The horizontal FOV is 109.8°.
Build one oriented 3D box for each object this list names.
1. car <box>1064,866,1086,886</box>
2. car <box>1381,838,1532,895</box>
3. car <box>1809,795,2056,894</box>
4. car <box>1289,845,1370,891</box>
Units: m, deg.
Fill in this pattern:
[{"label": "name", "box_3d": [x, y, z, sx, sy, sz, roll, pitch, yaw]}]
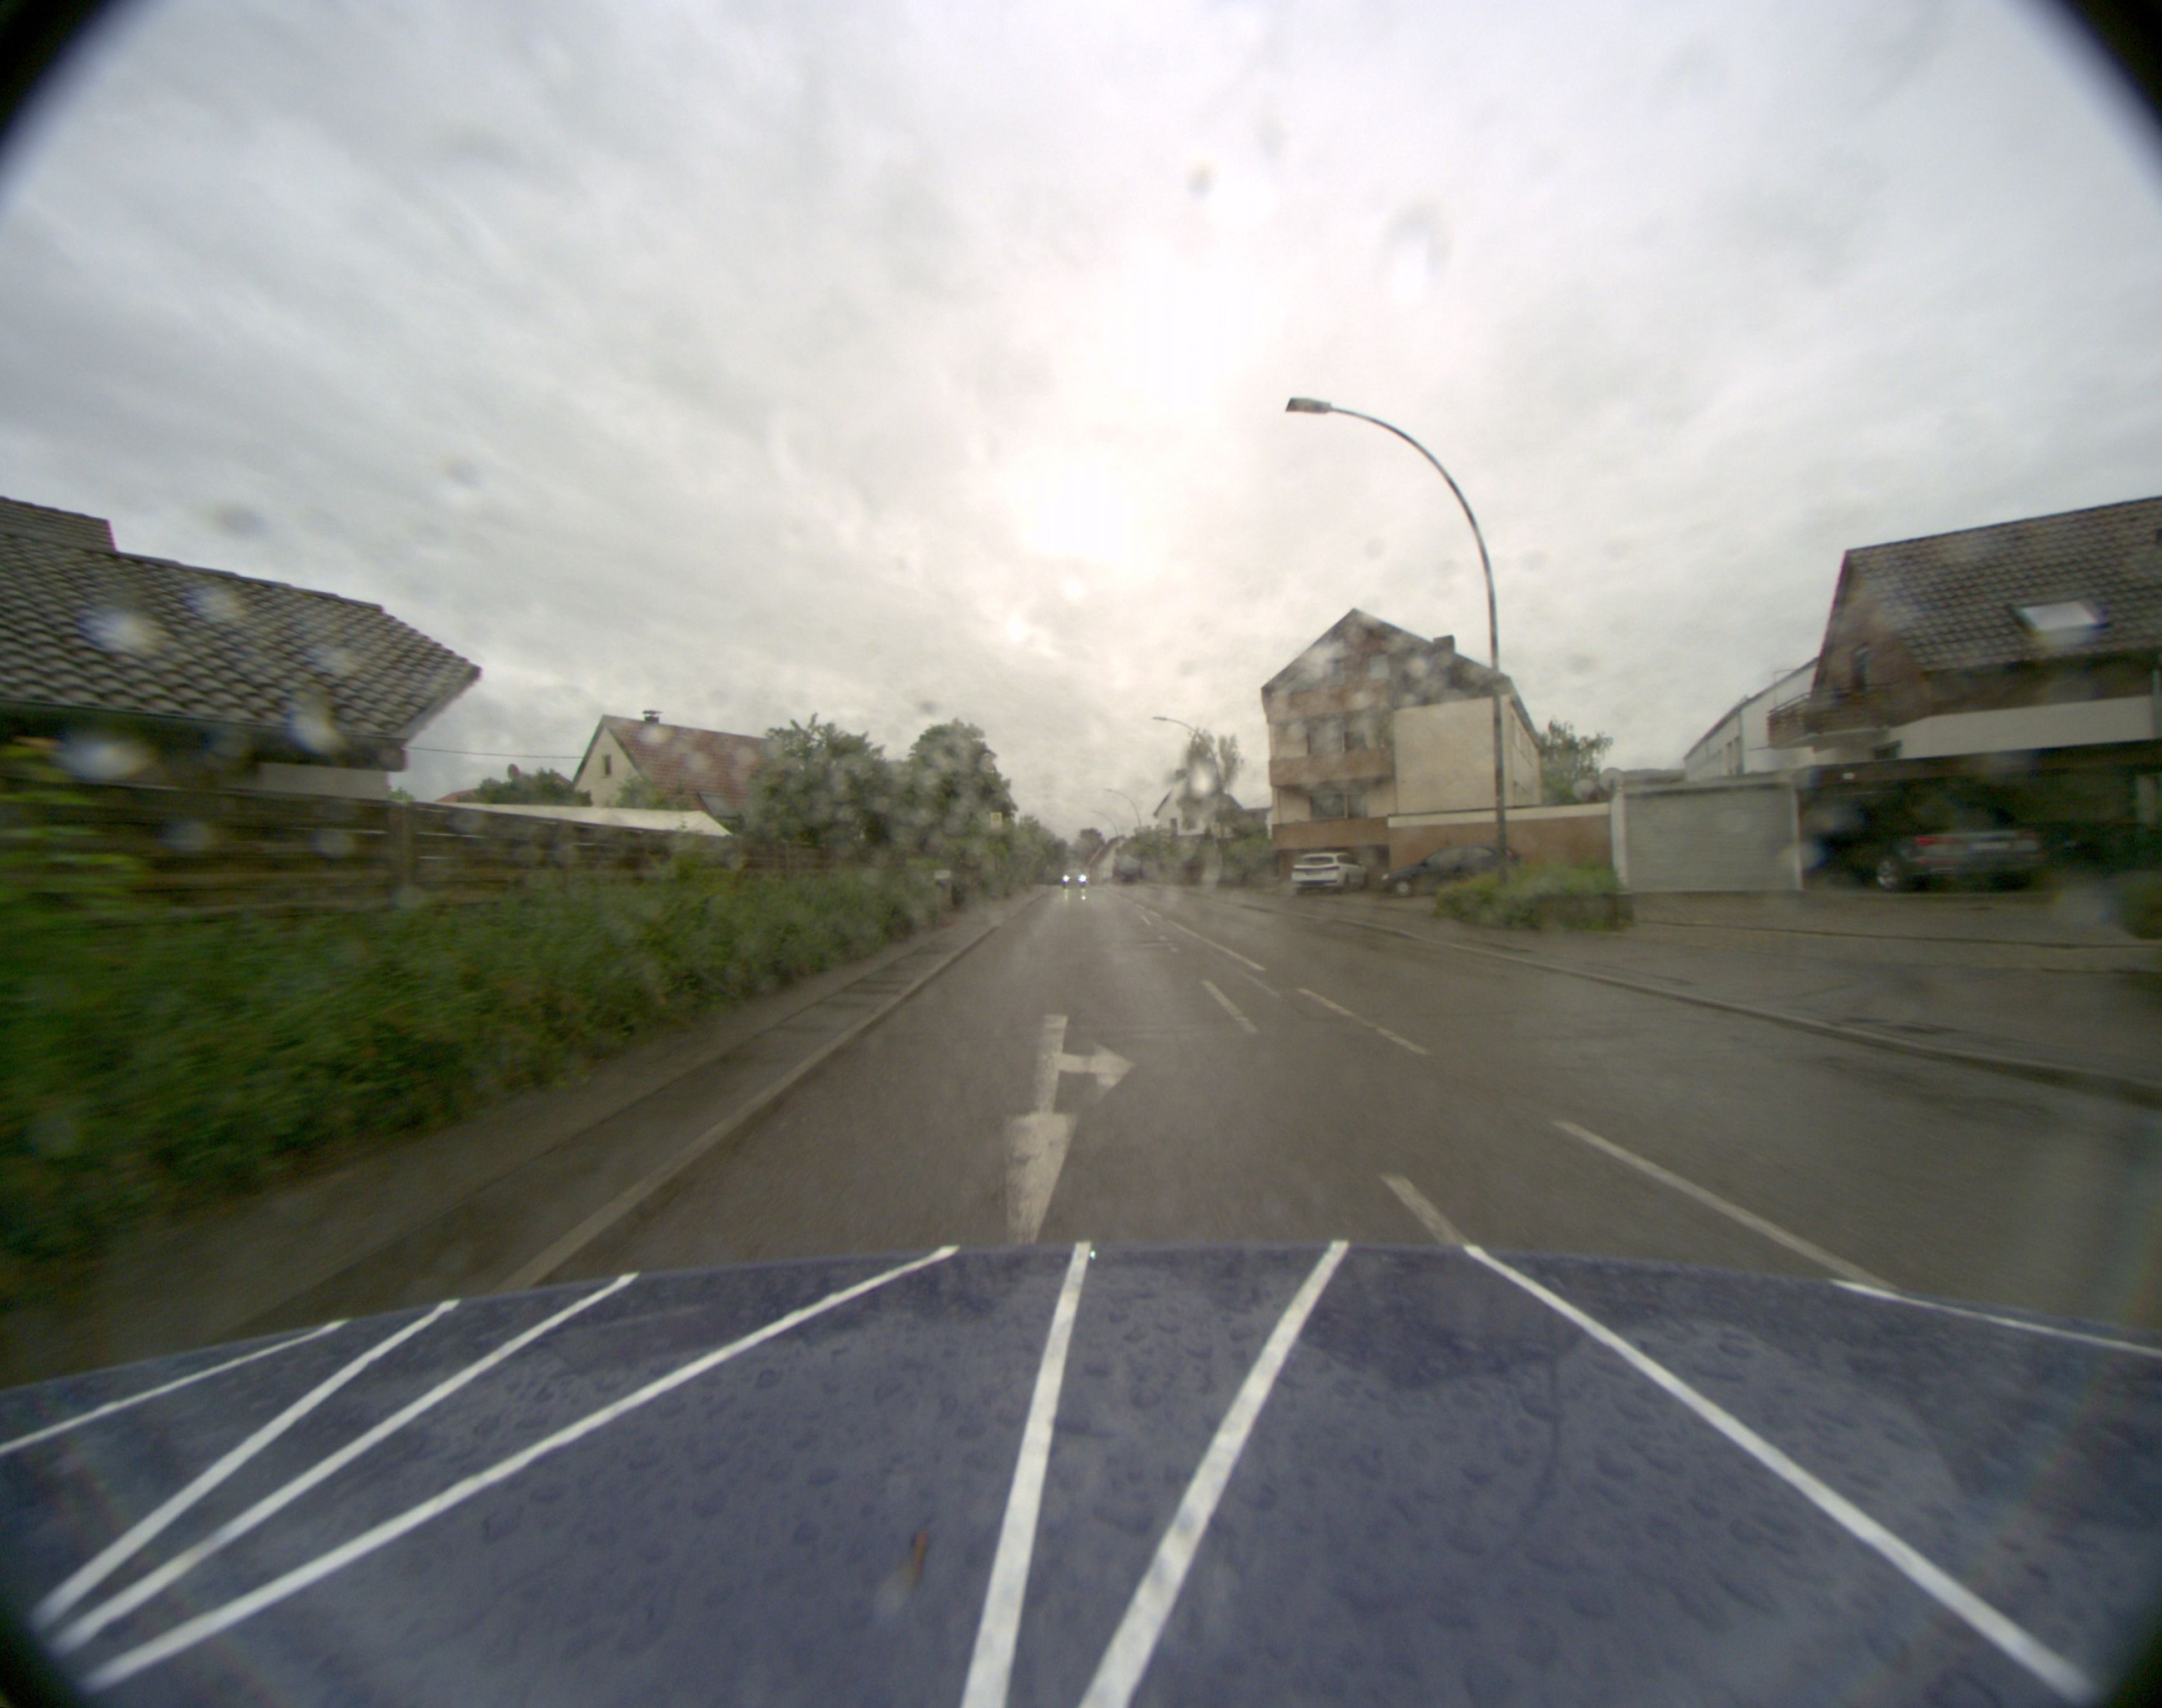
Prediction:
[{"label": "car", "box_3d": [-0.478, 1.807, 63.685, 1.687, 1.486, 3.938, -2, 1, 0]}, {"label": "car", "box_3d": [10.853, 0.364, 22.034, 3.660, 1.510, 1.758, -2, 1, 35]}, {"label": "car", "box_3d": [16.503, -0.258, 15.035, 1.836, 1.664, 3.867, -2, 3, 24]}, {"label": "car", "box_3d": [9.193, 0.475, 27.929, 1.864, 1.510, 4.007, -2, 1, 33]}]
